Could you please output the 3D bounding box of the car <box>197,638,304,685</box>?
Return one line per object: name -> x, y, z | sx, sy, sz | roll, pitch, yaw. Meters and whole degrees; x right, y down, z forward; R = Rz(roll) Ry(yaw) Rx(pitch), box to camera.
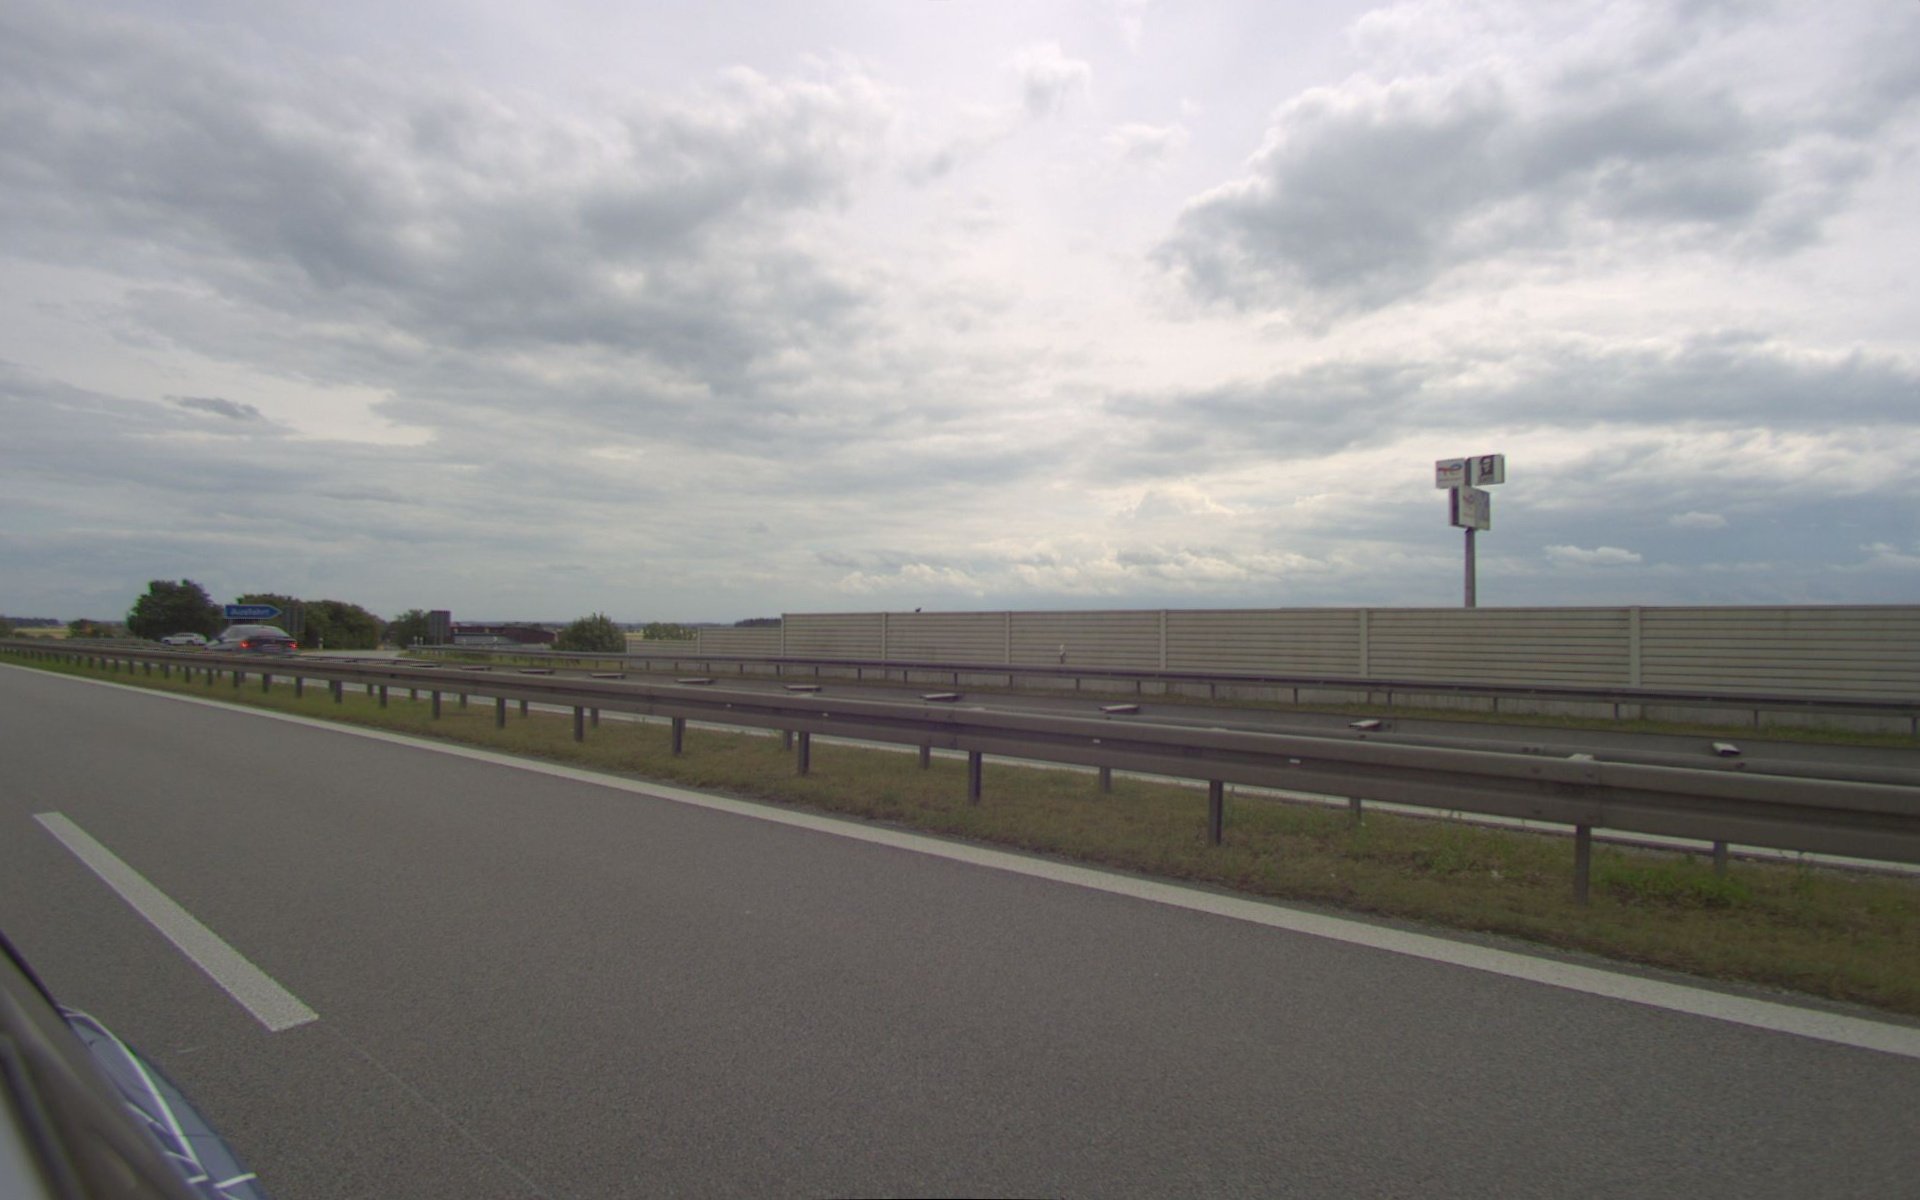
car -> -23.967, 2.023, 34.112 | 5.170, 1.462, 1.769 | -2, -2, 41
